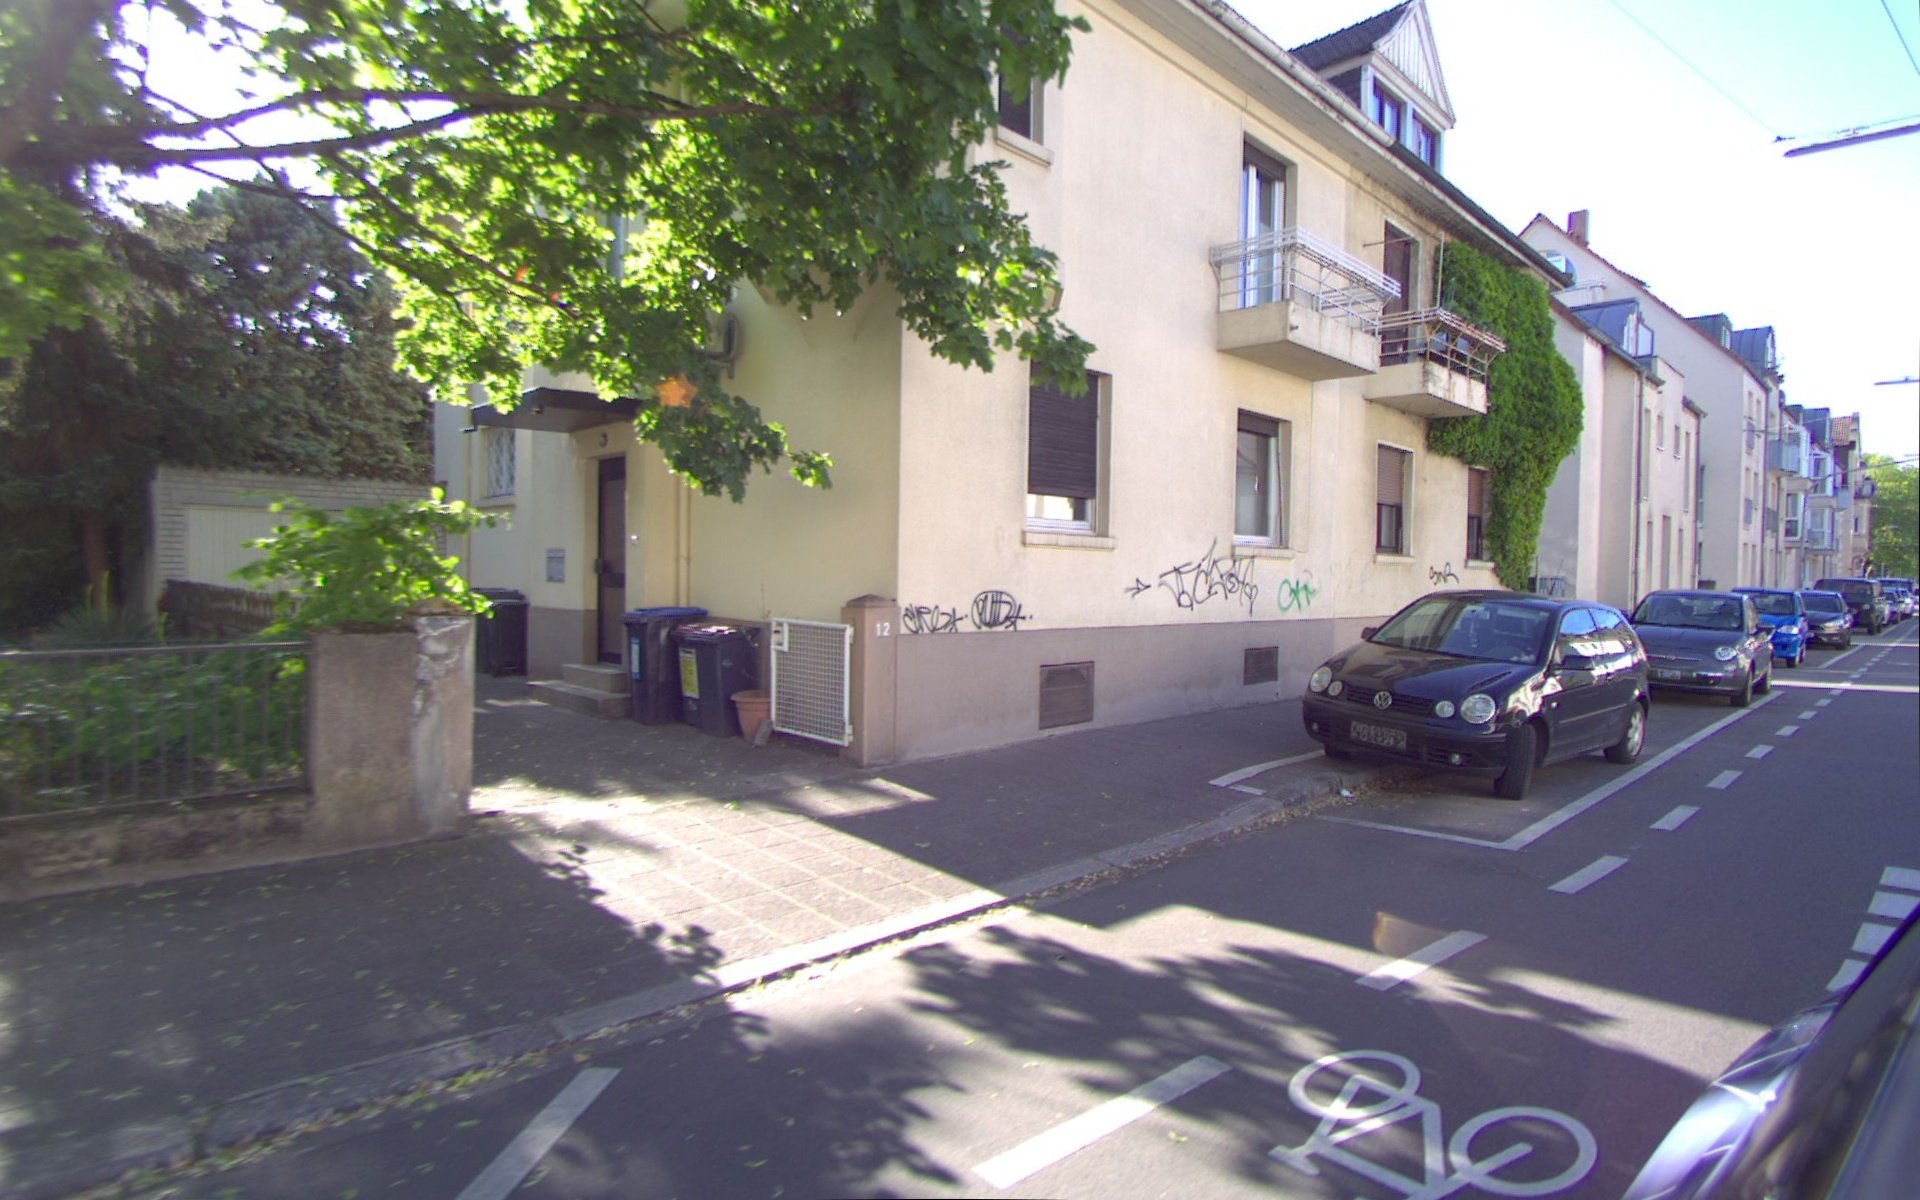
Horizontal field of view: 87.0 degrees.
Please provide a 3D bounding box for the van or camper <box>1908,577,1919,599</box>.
[{"bbox_3d":[108.711,-1.365,114.451,1.995,2.390,5.507,2,1,45],"label":"van or camper"}]

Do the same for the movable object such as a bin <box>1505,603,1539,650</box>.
[{"bbox_3d":[11.669,0.535,21.003,0.493,0.927,0.506,3,2,43],"label":"movable object such as a bin"}]

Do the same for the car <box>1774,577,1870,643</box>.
[{"bbox_3d":[23.298,0.215,27.290,1.744,1.619,4.364,0,1,43],"label":"car"}]

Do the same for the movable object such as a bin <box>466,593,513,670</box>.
[{"bbox_3d":[-6.069,0.391,13.045,0.429,0.943,0.516,0,2,-40],"label":"movable object such as a bin"}]

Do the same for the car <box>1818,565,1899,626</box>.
[{"bbox_3d":[31.555,-0.191,35.489,1.906,2.012,4.490,0,1,44],"label":"car"}]

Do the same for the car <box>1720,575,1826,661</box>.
[{"bbox_3d":[16.859,0.316,20.951,1.457,1.619,3.242,0,1,44],"label":"car"}]

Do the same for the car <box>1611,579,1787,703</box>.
[{"bbox_3d":[10.618,0.485,14.455,1.601,1.544,3.494,0,1,44],"label":"car"}]

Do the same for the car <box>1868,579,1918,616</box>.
[{"bbox_3d":[41.936,-0.143,45.476,1.554,1.577,3.594,0,1,45],"label":"car"}]

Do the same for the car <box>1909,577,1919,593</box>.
[{"bbox_3d":[101.892,-1.564,107.027,3.968,1.567,1.981,0,1,-44],"label":"car"}]

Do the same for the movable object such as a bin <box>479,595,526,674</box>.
[{"bbox_3d":[-5.712,0.416,12.637,0.429,0.943,0.449,0,2,-41],"label":"movable object such as a bin"}]

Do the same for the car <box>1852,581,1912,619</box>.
[{"bbox_3d":[38.382,-0.039,42.106,1.677,1.509,4.106,0,1,44],"label":"car"}]

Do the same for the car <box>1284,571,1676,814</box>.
[{"bbox_3d":[4.516,0.568,8.586,3.705,1.583,1.669,-2,3,-41],"label":"car"}]

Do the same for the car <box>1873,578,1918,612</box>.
[{"bbox_3d":[44.983,-0.249,48.641,1.497,1.577,3.311,0,1,45],"label":"car"}]

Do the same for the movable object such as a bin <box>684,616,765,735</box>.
[{"bbox_3d":[-2.056,0.635,8.826,0.490,0.959,0.529,0,2,-41],"label":"movable object such as a bin"}]

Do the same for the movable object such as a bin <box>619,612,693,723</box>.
[{"bbox_3d":[-2.844,0.610,9.451,0.490,0.959,0.529,0,2,-41],"label":"movable object such as a bin"}]

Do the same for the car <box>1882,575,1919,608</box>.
[{"bbox_3d":[52.062,-0.481,55.708,4.186,1.768,1.740,-1,1,-44],"label":"car"}]

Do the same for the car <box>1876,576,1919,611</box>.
[{"bbox_3d":[48.225,-0.339,51.906,3.924,1.721,1.603,-1,1,-44],"label":"car"}]

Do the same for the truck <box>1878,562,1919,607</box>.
[{"bbox_3d":[56.328,-0.930,60.109,6.046,2.508,2.297,-1,2,-44],"label":"truck"}]
